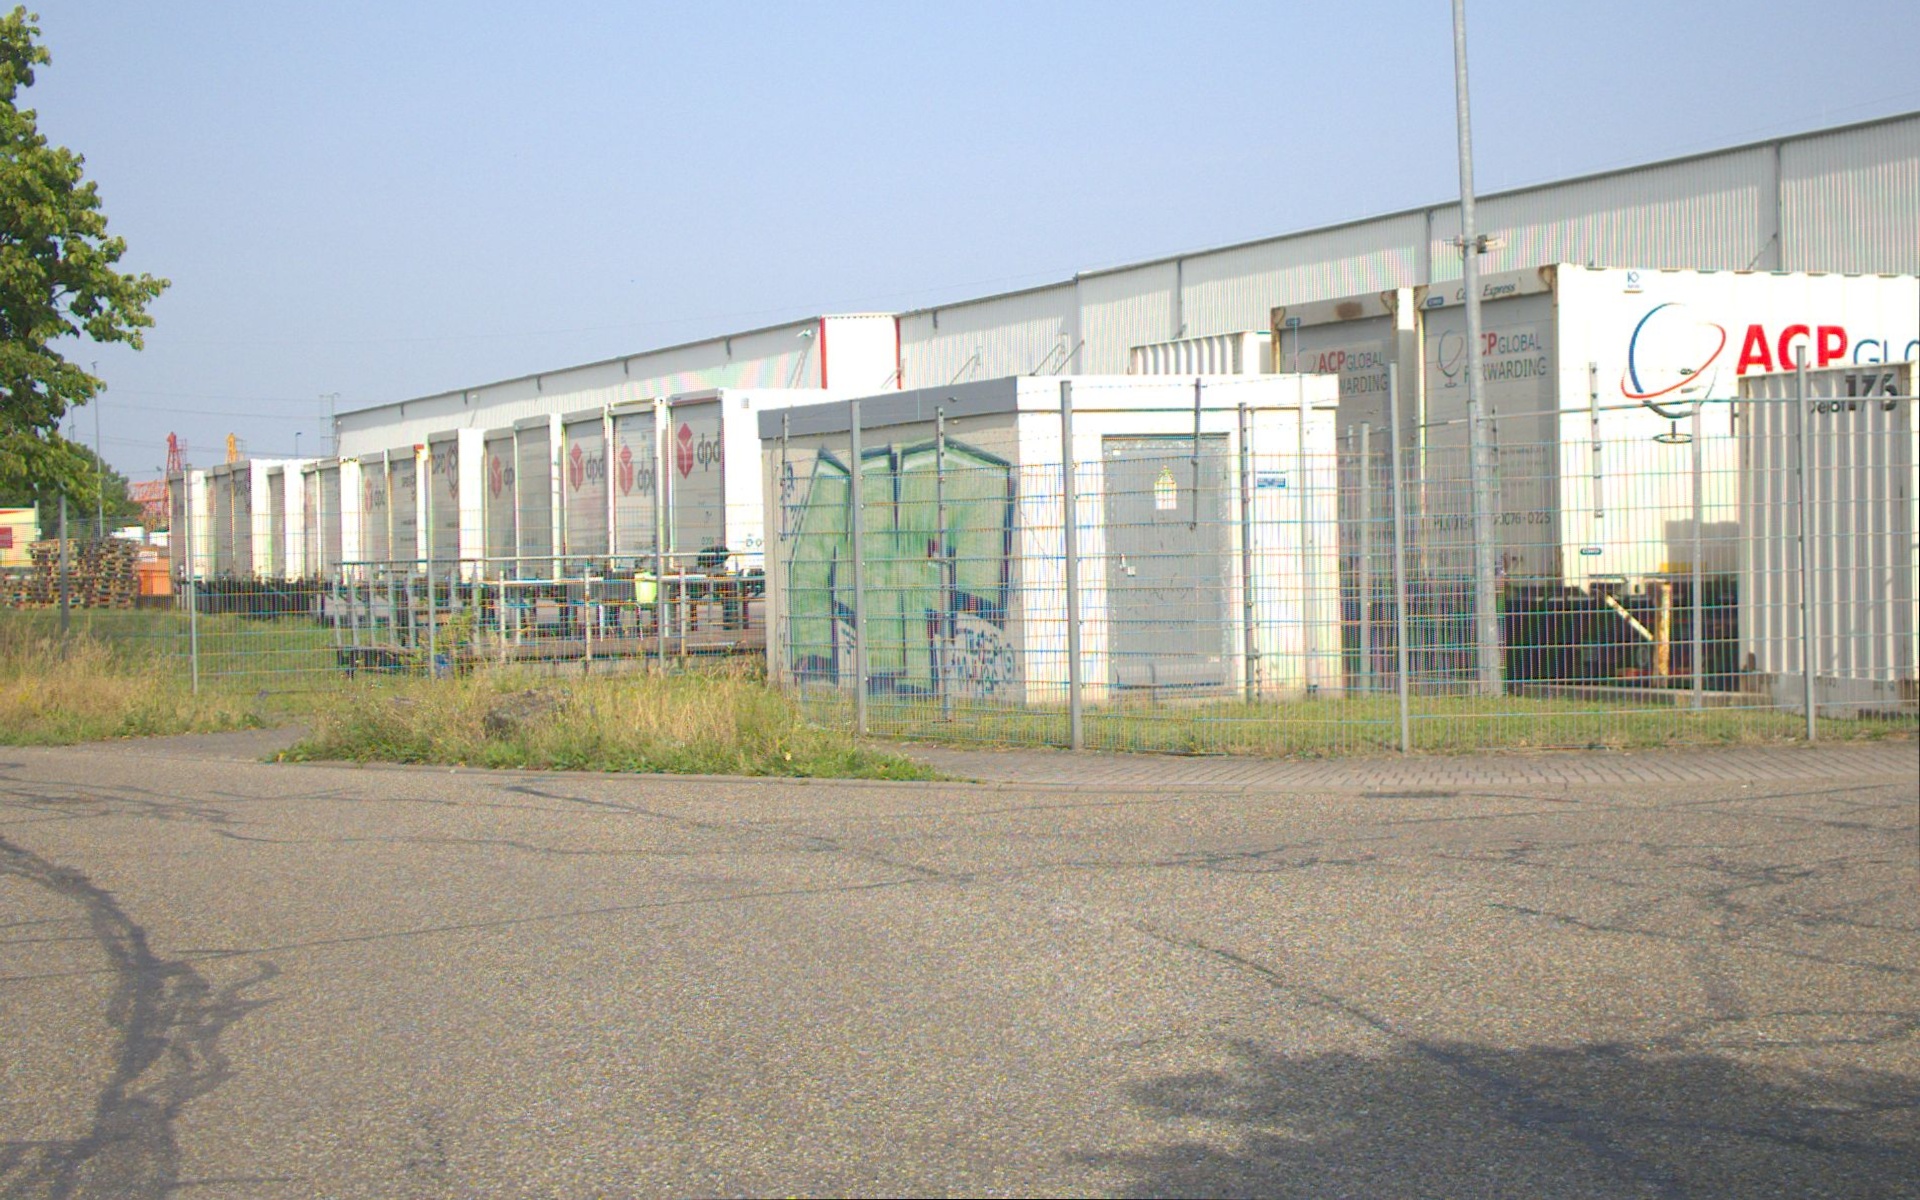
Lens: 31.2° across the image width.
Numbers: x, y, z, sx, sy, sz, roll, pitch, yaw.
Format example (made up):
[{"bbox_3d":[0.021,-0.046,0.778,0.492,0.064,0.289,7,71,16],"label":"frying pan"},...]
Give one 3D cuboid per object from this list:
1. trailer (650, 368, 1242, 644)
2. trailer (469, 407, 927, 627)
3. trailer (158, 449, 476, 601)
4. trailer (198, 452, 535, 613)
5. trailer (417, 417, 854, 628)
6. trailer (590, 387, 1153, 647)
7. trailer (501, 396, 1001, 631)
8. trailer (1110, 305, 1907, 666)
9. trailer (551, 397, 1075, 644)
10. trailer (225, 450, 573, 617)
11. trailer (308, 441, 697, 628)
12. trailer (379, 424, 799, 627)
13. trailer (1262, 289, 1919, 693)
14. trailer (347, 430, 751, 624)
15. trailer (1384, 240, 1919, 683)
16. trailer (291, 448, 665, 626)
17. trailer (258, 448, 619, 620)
[{"bbox_3d":[-0.172,-1.353,52.220,8.534,3.880,2.776,1,1,-24],"label":"trailer"},{"bbox_3d":[-4.889,-1.501,64.527,8.031,3.880,2.776,1,1,-24],"label":"trailer"},{"bbox_3d":[-17.383,-1.988,92.982,7.960,3.880,2.743,1,1,-24],"label":"trailer"},{"bbox_3d":[-15.071,-1.686,87.399,7.960,3.880,2.776,1,1,-24],"label":"trailer"},{"bbox_3d":[-6.315,-1.468,67.160,7.960,3.880,2.776,1,1,-24],"label":"trailer"},{"bbox_3d":[-1.378,-1.267,55.051,8.534,3.880,2.776,1,1,-24],"label":"trailer"},{"bbox_3d":[-3.669,-1.464,60.737,8.305,3.880,2.776,1,1,-24],"label":"trailer"},{"bbox_3d":[6.234,-1.237,38.723,8.730,3.748,2.791,-1,0,-24],"label":"trailer"},{"bbox_3d":[-2.447,-1.280,57.930,8.305,3.880,2.776,1,1,-24],"label":"trailer"},{"bbox_3d":[-13.823,-1.606,84.750,7.960,3.880,2.776,1,1,-24],"label":"trailer"},{"bbox_3d":[-10.054,-1.400,75.645,7.960,3.880,2.776,1,1,-24],"label":"trailer"},{"bbox_3d":[-7.524,-1.473,69.867,7.960,3.880,2.776,1,1,-24],"label":"trailer"},{"bbox_3d":[7.653,-1.203,35.987,8.534,3.880,2.776,-2,1,-22],"label":"trailer"},{"bbox_3d":[-8.676,-1.501,72.777,7.960,3.880,2.776,1,1,-24],"label":"trailer"},{"bbox_3d":[8.582,-1.264,33.121,8.534,3.881,2.776,-1,-1,-22],"label":"trailer"},{"bbox_3d":[-11.042,-1.408,78.882,7.960,3.880,2.776,1,1,-24],"label":"trailer"},{"bbox_3d":[-12.377,-1.538,81.749,7.960,3.880,2.776,1,1,-24],"label":"trailer"}]
